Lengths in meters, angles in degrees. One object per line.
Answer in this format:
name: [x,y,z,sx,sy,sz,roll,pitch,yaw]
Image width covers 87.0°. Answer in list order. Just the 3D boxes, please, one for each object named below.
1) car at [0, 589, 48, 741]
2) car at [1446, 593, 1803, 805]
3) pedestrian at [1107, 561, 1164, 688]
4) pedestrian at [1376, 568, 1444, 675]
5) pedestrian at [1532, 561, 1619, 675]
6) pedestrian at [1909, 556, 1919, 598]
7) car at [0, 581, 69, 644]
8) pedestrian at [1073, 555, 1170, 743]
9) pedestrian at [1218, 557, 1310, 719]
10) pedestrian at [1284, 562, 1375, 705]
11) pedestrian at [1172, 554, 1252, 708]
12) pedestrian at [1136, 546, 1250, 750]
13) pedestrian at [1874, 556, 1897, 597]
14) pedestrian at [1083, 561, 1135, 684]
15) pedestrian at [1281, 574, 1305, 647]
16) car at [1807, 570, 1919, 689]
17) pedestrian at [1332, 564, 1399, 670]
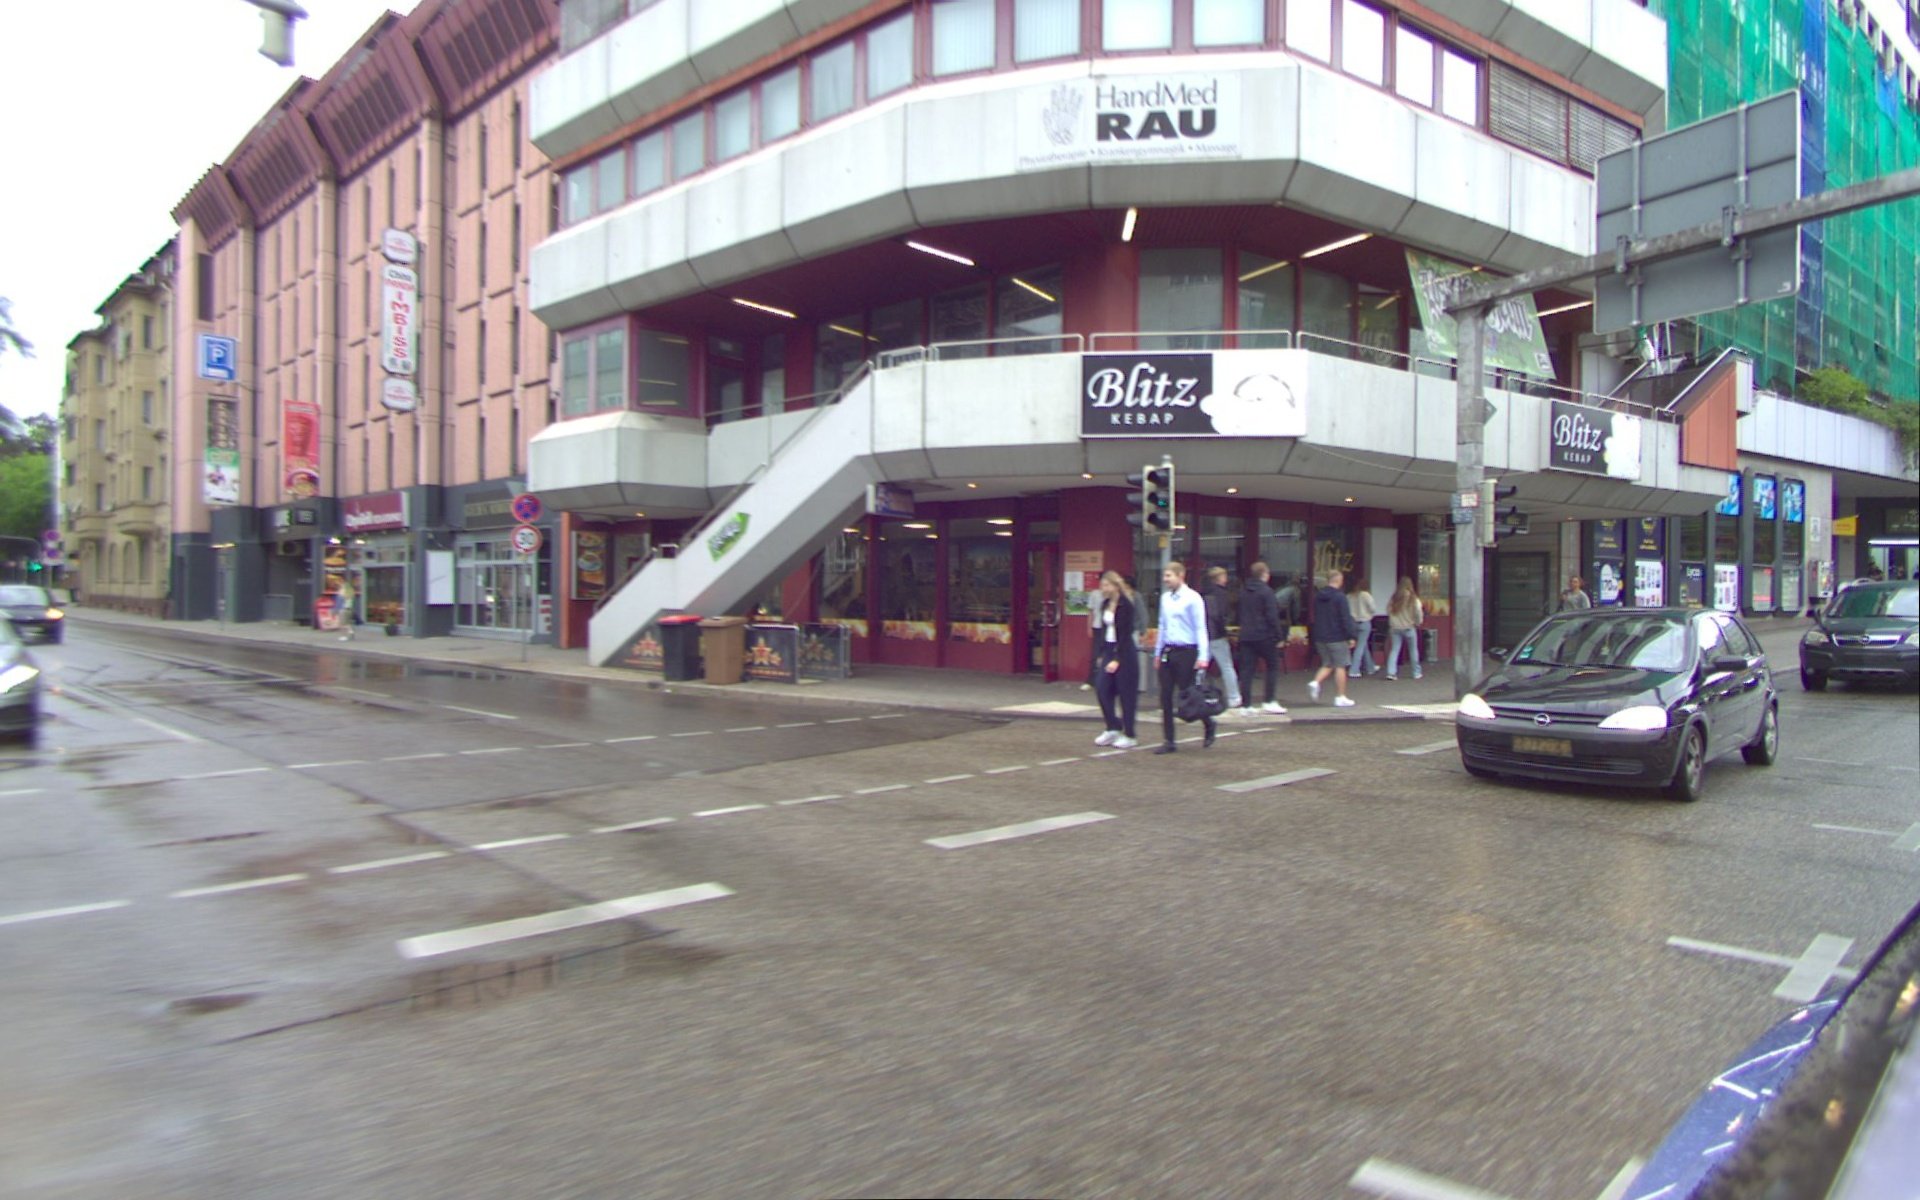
car: [-11.062,0.610,10.647,4.256,1.438,1.761,1,1,42]
car: [5.821,0.677,8.732,3.562,1.459,1.595,0,0,-39]
pedestrian: [2.528,0.340,14.607,0.483,1.785,0.597,-3,1,-35]
pedestrian: [7.335,0.329,16.497,0.922,1.683,0.576,0,2,-34]
pedestrian: [10.390,0.272,17.097,0.790,1.800,0.900,-3,6,-32]
pedestrian: [34.860,-0.832,36.867,0.427,1.506,0.516,0,3,43]
car: [-26.346,0.397,28.252,3.984,1.571,1.781,-3,0,43]
pedestrian: [1.623,0.467,10.206,0.664,1.795,0.625,-2,1,-29]
pedestrian: [3.786,0.442,12.613,0.775,1.925,0.761,-2,1,-36]
pedestrian: [4.876,0.419,13.357,0.872,1.802,0.750,-2,0,-39]
pedestrian: [3.276,0.372,13.162,0.664,1.919,0.734,-2,1,-37]
pedestrian: [2.261,0.431,9.833,0.831,1.869,0.625,-3,1,-29]
pedestrian: [34.631,-0.878,37.865,0.518,1.506,0.426,-1,2,23]
pedestrian: [2.227,0.328,15.127,0.502,1.785,0.527,-3,1,-35]
pedestrian: [7.052,0.217,21.471,0.452,1.505,0.507,0,2,16]
car: [15.231,0.385,16.142,4.171,1.700,1.735,-2,0,-37]
pedestrian: [6.838,0.265,17.067,0.952,1.727,0.591,0,2,-34]
